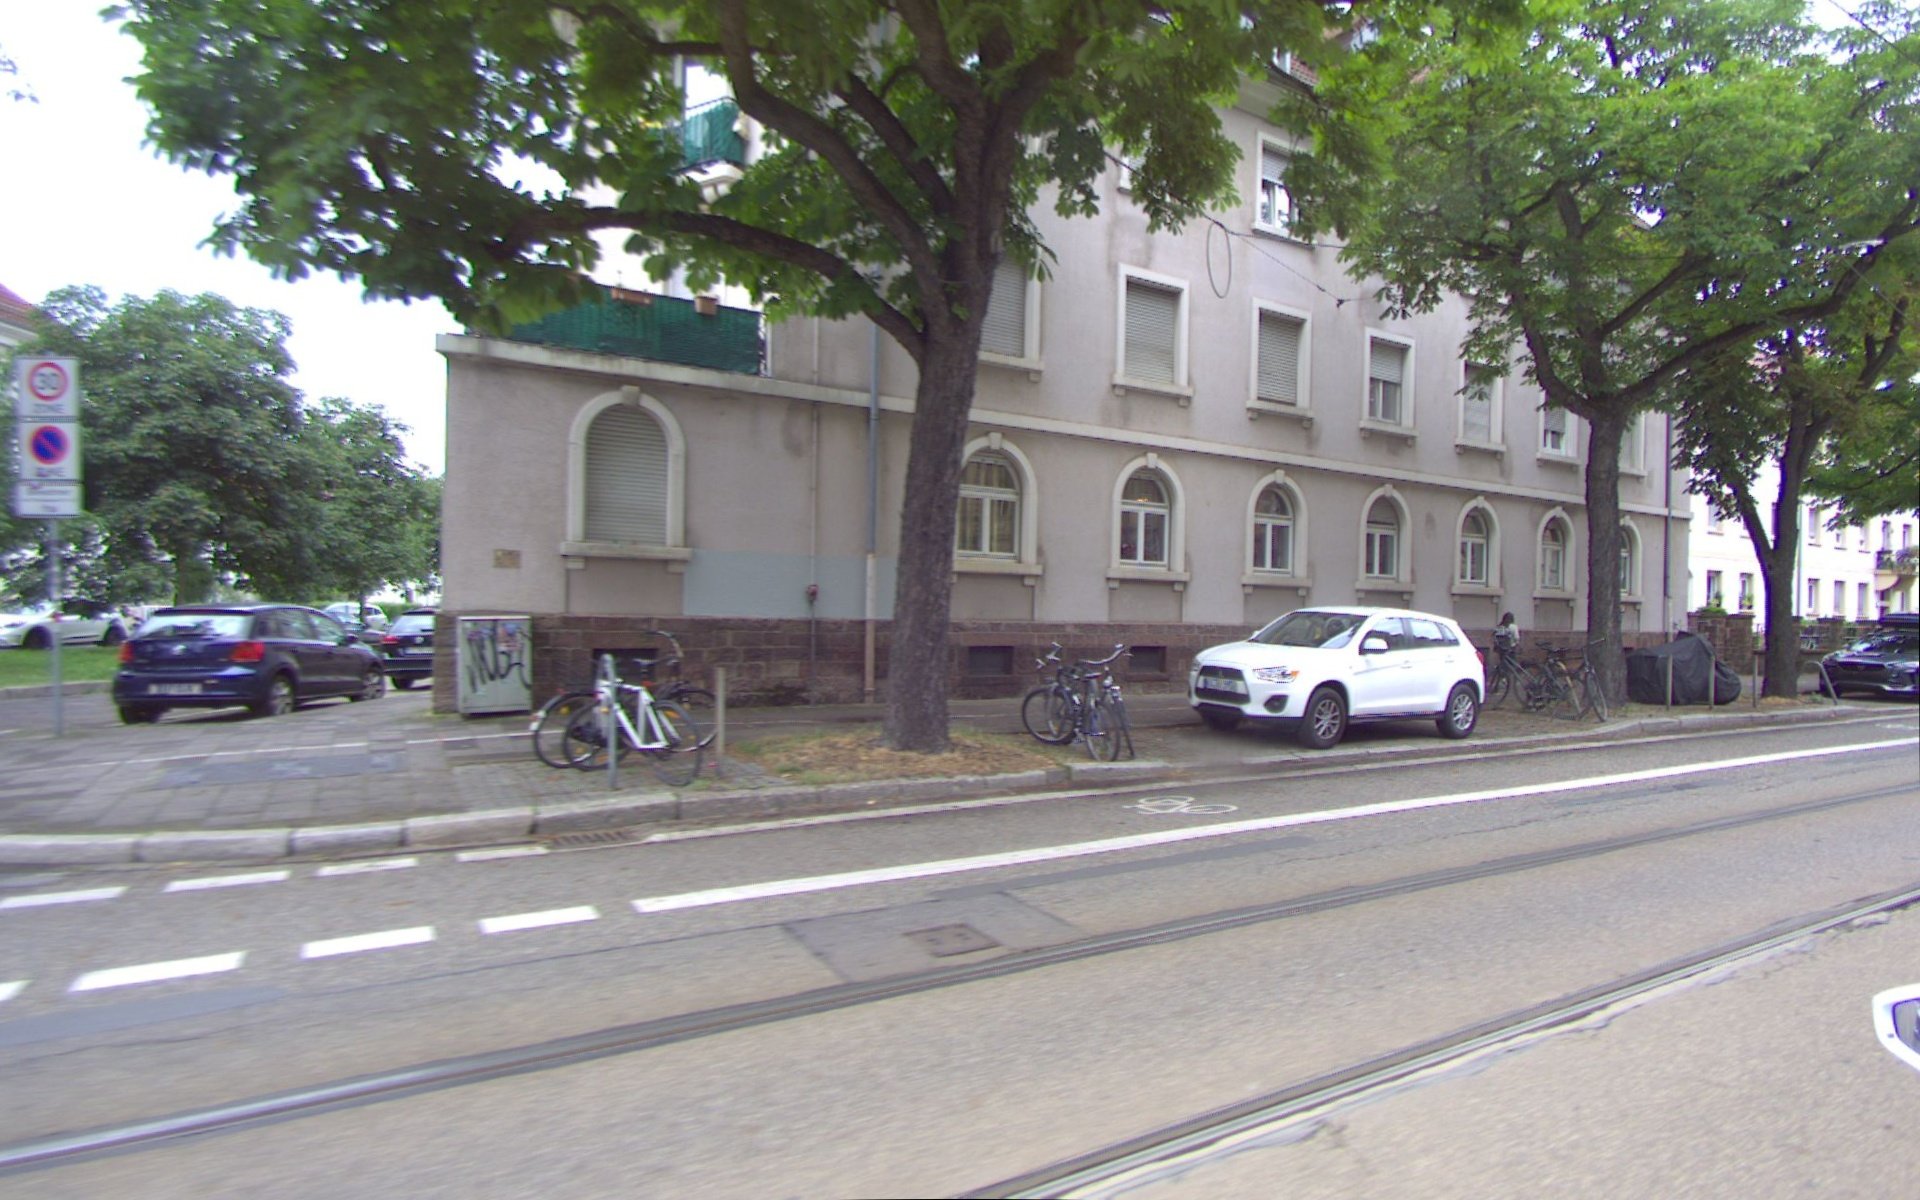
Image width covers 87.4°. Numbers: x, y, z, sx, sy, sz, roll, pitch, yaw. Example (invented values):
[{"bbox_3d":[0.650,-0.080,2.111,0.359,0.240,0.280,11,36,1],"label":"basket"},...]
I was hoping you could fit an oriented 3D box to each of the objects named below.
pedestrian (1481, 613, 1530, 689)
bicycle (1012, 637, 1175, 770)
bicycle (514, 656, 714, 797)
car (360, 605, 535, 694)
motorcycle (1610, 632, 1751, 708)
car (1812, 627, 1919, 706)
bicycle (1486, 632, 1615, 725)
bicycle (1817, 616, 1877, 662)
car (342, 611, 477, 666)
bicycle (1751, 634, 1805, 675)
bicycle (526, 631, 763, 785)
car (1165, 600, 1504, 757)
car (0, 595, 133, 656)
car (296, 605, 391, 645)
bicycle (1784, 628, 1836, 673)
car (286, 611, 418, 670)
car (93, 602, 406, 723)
[{"bbox_3d":[10.933,1.010,20.119,0.714,1.487,0.562,1,0,-30],"label":"pedestrian"},{"bbox_3d":[1.333,1.011,10.466,0.616,1.136,1.913,1,1,-30],"label":"bicycle"},{"bbox_3d":[-2.662,0.938,7.802,1.386,0.971,0.479,2,-1,-39],"label":"bicycle"},{"bbox_3d":[-9.503,0.850,18.972,1.675,1.483,3.940,1,0,-7],"label":"car"},{"bbox_3d":[13.109,1.265,18.283,2.285,1.305,0.863,1,0,-17],"label":"motorcycle"},{"bbox_3d":[20.966,1.423,22.322,4.187,1.531,1.769,1,0,-30],"label":"car"},{"bbox_3d":[9.091,1.175,15.543,0.642,1.209,1.743,-4,3,-15],"label":"bicycle"},{"bbox_3d":[28.224,1.238,31.955,2.116,1.400,0.789,1,0,-31],"label":"bicycle"},{"bbox_3d":[-15.998,1.080,29.410,1.640,1.428,4.001,1,0,2],"label":"car"},{"bbox_3d":[27.214,1.789,33.409,2.117,1.315,0.744,1,0,-32],"label":"bicycle"},{"bbox_3d":[-2.731,0.882,8.867,0.667,1.151,1.925,0,0,43],"label":"bicycle"},{"bbox_3d":[4.830,0.898,12.830,4.178,1.677,1.887,1,0,-32],"label":"car"},{"bbox_3d":[-25.689,0.692,28.131,1.768,1.573,4.187,0,-1,-4],"label":"car"},{"bbox_3d":[-26.451,1.038,43.278,1.729,1.573,4.187,1,0,-4],"label":"car"},{"bbox_3d":[27.679,1.632,32.694,2.116,1.400,0.624,1,0,-31],"label":"bicycle"},{"bbox_3d":[-14.701,0.940,24.449,1.329,1.317,2.968,1,0,1],"label":"car"},{"bbox_3d":[-8.938,0.724,13.077,1.709,1.324,3.757,1,-1,-7],"label":"car"}]
